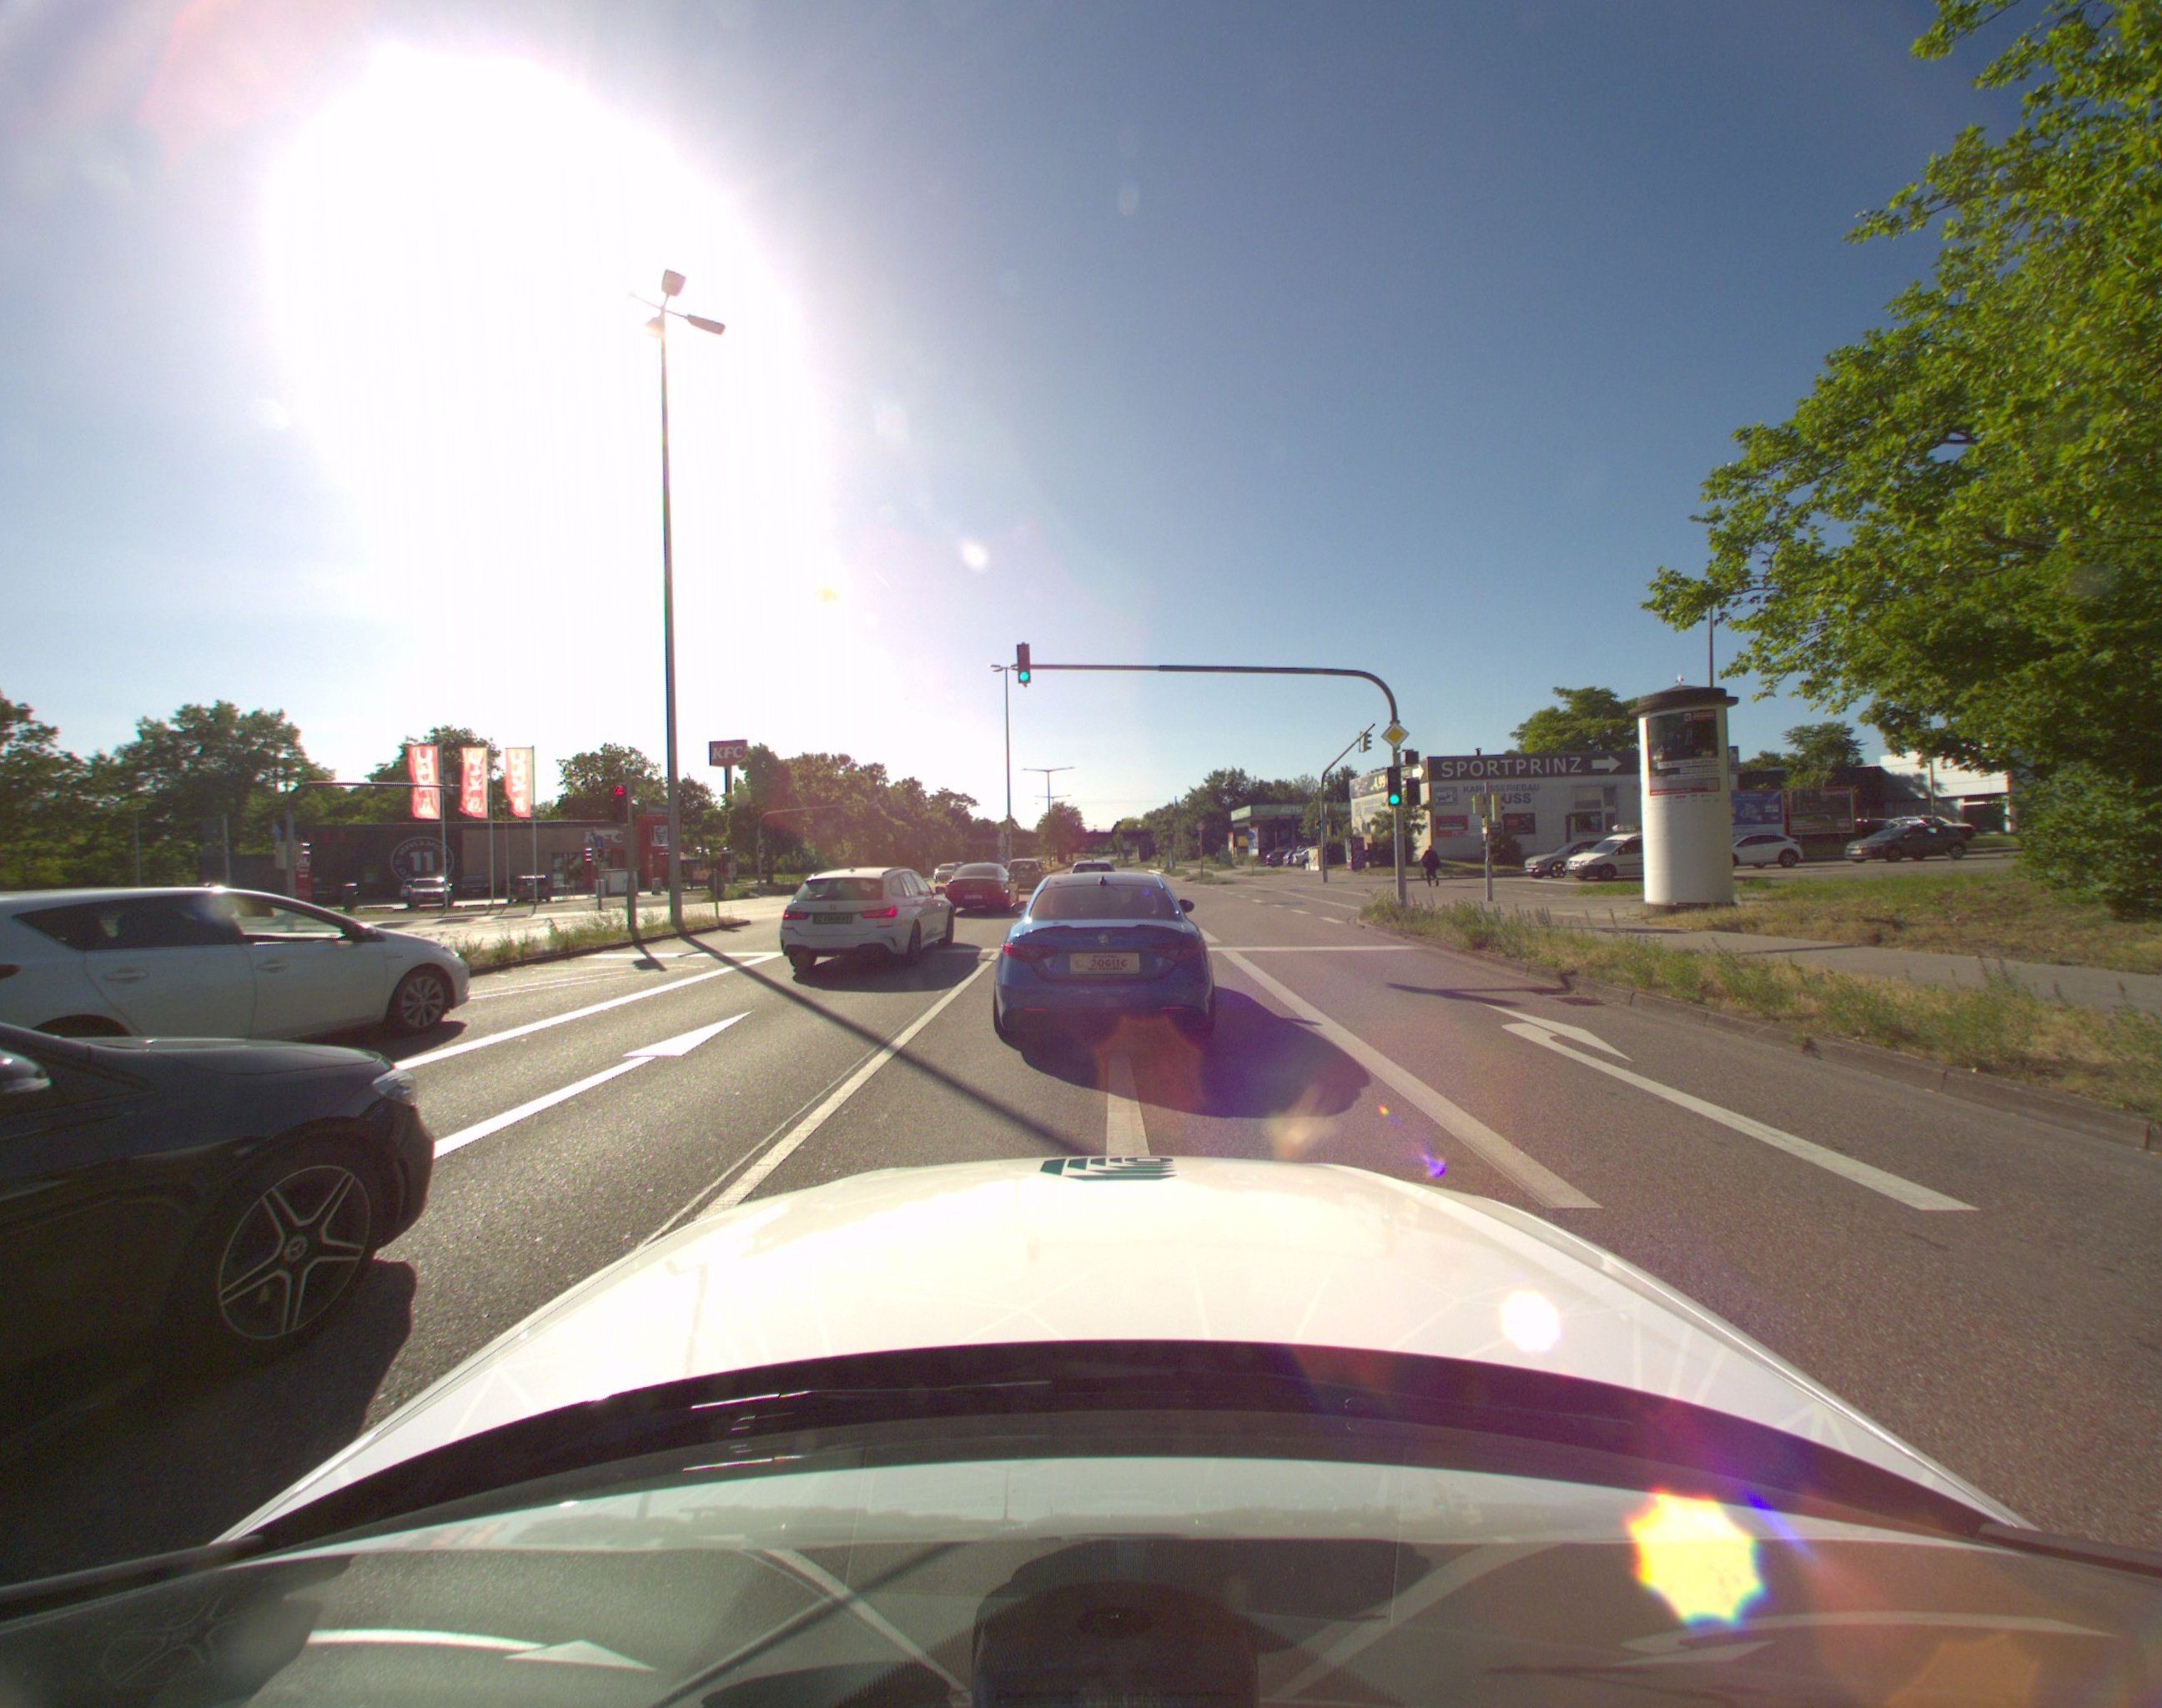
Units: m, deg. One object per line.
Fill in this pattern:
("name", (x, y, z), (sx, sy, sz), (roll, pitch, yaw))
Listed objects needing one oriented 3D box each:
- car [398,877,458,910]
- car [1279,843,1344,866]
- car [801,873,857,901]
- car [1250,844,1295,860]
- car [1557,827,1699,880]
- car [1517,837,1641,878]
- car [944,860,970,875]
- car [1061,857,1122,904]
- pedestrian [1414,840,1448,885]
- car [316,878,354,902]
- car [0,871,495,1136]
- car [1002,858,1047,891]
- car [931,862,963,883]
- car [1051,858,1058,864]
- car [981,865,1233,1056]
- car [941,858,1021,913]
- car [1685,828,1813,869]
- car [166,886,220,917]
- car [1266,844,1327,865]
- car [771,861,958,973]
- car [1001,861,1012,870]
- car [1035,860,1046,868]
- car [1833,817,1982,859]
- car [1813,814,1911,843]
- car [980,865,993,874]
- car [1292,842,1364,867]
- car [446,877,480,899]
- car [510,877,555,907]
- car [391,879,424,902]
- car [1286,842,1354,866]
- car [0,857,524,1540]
("car", (-37.711, 2.238, 47.152), (2.006, 1.765, 4.315), (0, -1, -29))
("car", (17.671, 0.066, 62.645), (4.470, 1.454, 1.860), (-3, -1, 3))
("car", (-15.123, 1.952, 49.052), (1.752, 1.490, 4.480), (-3, -1, 2))
("car", (21.006, -0.211, 89.492), (4.532, 1.490, 1.766), (-3, -1, 3))
("car", (21.307, -0.037, 31.842), (4.367, 1.801, 1.765), (-3, 1, 0))
("car", (21.429, 0.135, 35.175), (4.273, 1.549, 1.765), (-3, 1, 0))
("car", (-13.895, 1.500, 91.490), (1.981, 1.629, 4.480), (-3, -1, 2))
("car", (0.347, 0.827, 26.668), (1.844, 1.418, 4.403), (0, -1, 1))
("pedestrian", (13.862, 0.332, 32.284), (0.922, 1.735, 0.939), (0, -1, 1))
("car", (-48.448, 2.298, 52.933), (1.670, 1.471, 3.871), (1, -1, -40))
("car", (-7.029, 0.898, 6.408), (1.753, 1.490, 4.197), (0, -1, 1))
("car", (-2.635, 0.959, 38.757), (1.753, 1.490, 4.403), (0, -1, 1))
("car", (-10.585, 1.470, 64.494), (1.752, 1.490, 3.838), (-3, -1, 2))
("car", (-7.924, 2.167, 243.748), (1.565, 1.618, 4.001), (0, -1, 2))
("car", (0.221, 0.831, 8.311), (1.889, 1.418, 4.403), (0, -1, 1))
("car", (-2.901, 0.907, 24.525), (1.790, 1.490, 4.475), (0, -1, 1))
("car", (28.801, -0.229, 35.187), (4.029, 1.490, 1.782), (-3, -1, -1))
("car", (-52.722, 2.813, 48.408), (1.670, 1.673, 3.897), (1, -1, -40))
("car", (17.527, 0.059, 66.344), (4.470, 1.454, 1.860), (-3, -1, 3))
("car", (-3.235, 0.881, 13.129), (1.779, 1.490, 4.403), (0, -1, 1))
("car", (-13.967, 2.218, 152.192), (1.603, 1.647, 3.463), (0, -1, 2))
("car", (-8.434, 2.138, 169.278), (1.752, 1.490, 4.480), (-3, -1, 2))
("car", (35.519, -0.676, 35.084), (4.534, 1.490, 1.765), (-3, -1, 1))
("car", (46.829, -1.503, 48.994), (1.750, 1.490, 4.574), (-3, -1, 6))
("car", (-15.139, 2.481, 130.964), (1.610, 1.559, 3.358), (0, -1, 2))
("car", (17.260, 0.067, 57.001), (4.470, 1.454, 1.860), (-3, -1, 3))
("car", (-43.547, 2.384, 57.332), (1.670, 1.471, 3.871), (1, -1, -40))
("car", (-34.050, 2.320, 50.639), (1.920, 1.753, 4.315), (0, -1, -29))
("car", (-46.035, 2.437, 55.672), (1.670, 1.471, 3.871), (1, -1, -40))
("car", (17.475, 0.024, 59.661), (4.470, 1.454, 1.860), (-3, -1, 3))
("car", (-3.265, 0.785, 1.255), (1.754, 1.490, 4.401), (-3, -1, 0))
